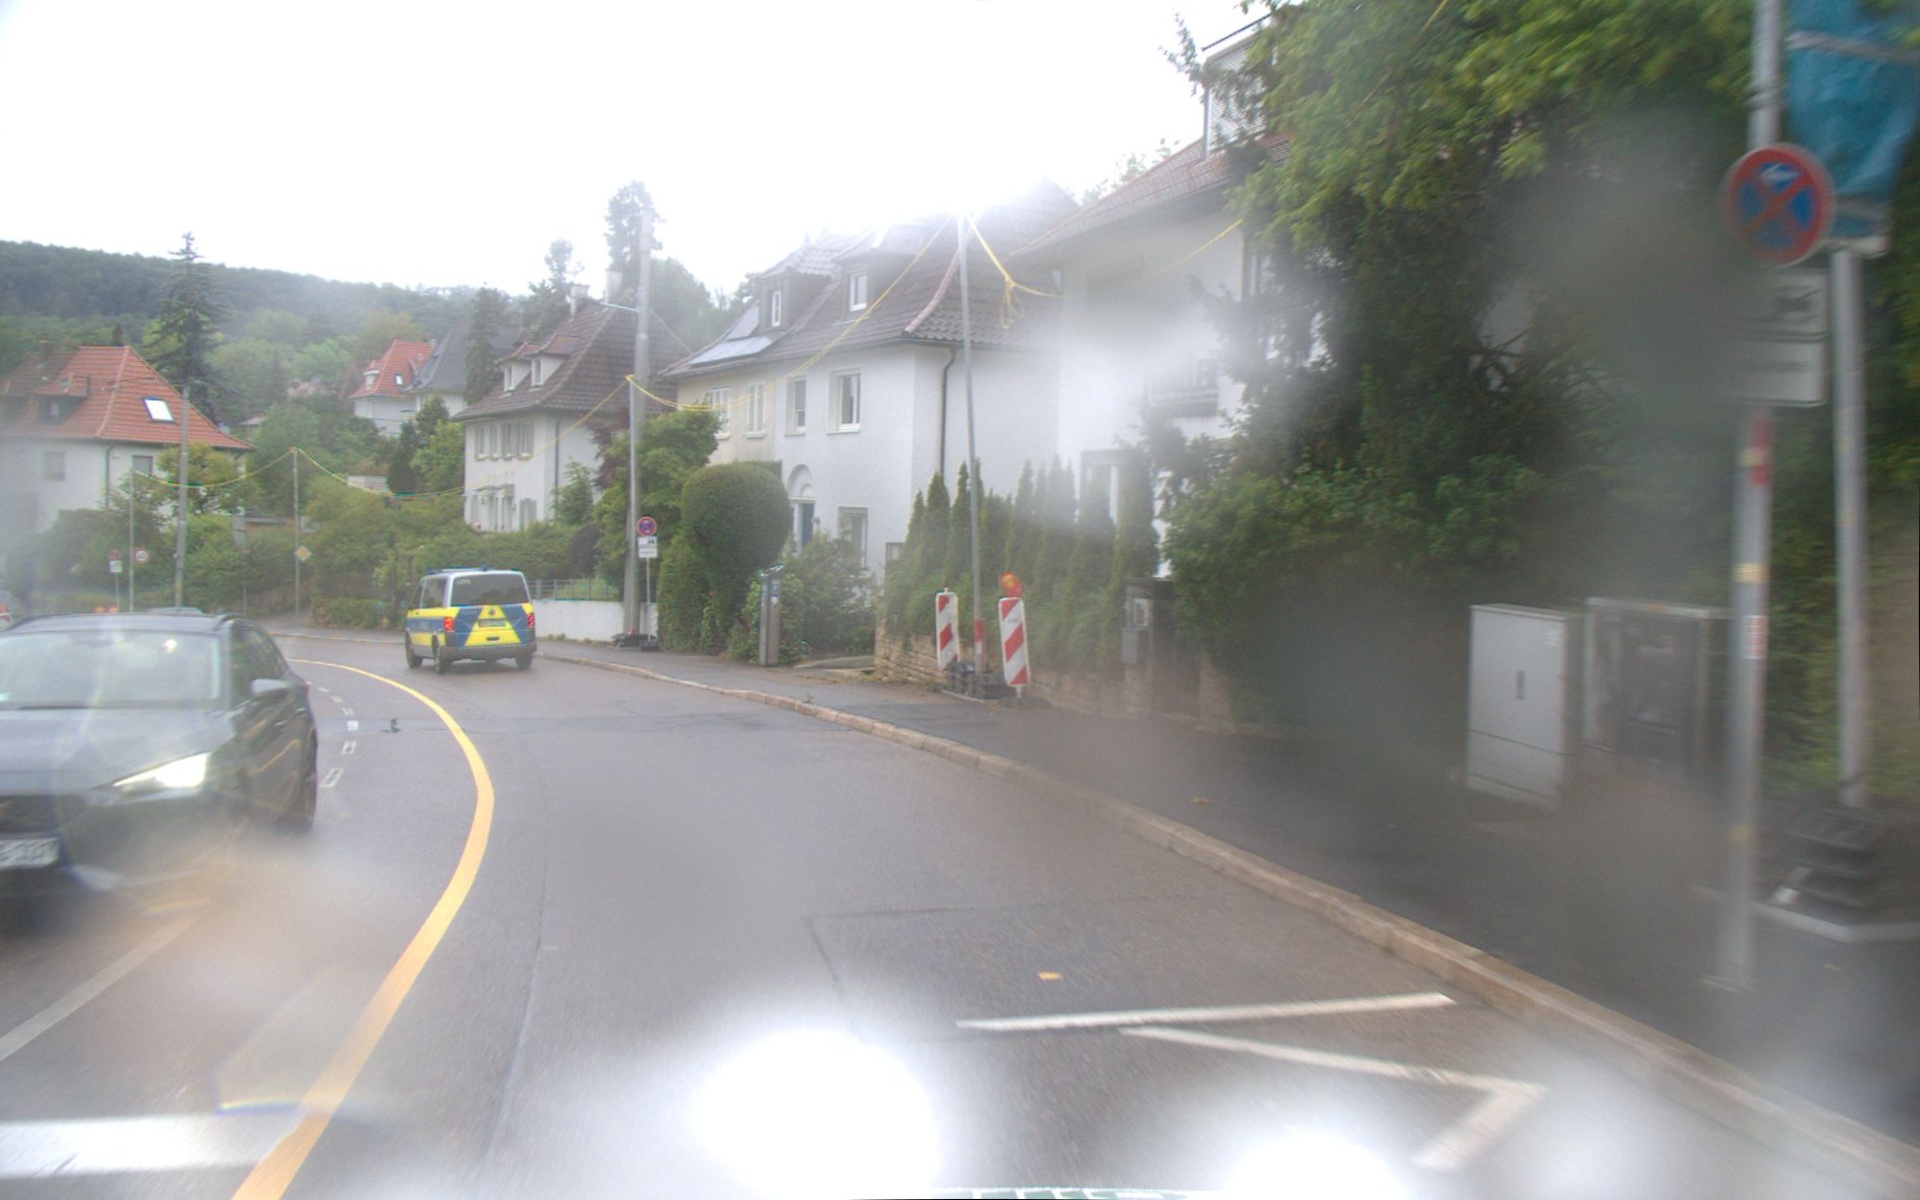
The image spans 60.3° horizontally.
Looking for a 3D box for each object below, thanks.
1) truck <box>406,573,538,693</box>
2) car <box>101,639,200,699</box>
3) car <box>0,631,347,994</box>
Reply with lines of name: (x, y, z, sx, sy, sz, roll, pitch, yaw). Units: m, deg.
truck: (-10.044, 0.585, 33.829, 1.968, 2.048, 4.699, -1, 3, -24)
car: (-20.597, 1.730, 42.002, 1.634, 1.334, 4.211, -3, 0, -34)
car: (-4.585, 0.933, 9.040, 1.753, 1.427, 4.351, 1, 0, -13)
